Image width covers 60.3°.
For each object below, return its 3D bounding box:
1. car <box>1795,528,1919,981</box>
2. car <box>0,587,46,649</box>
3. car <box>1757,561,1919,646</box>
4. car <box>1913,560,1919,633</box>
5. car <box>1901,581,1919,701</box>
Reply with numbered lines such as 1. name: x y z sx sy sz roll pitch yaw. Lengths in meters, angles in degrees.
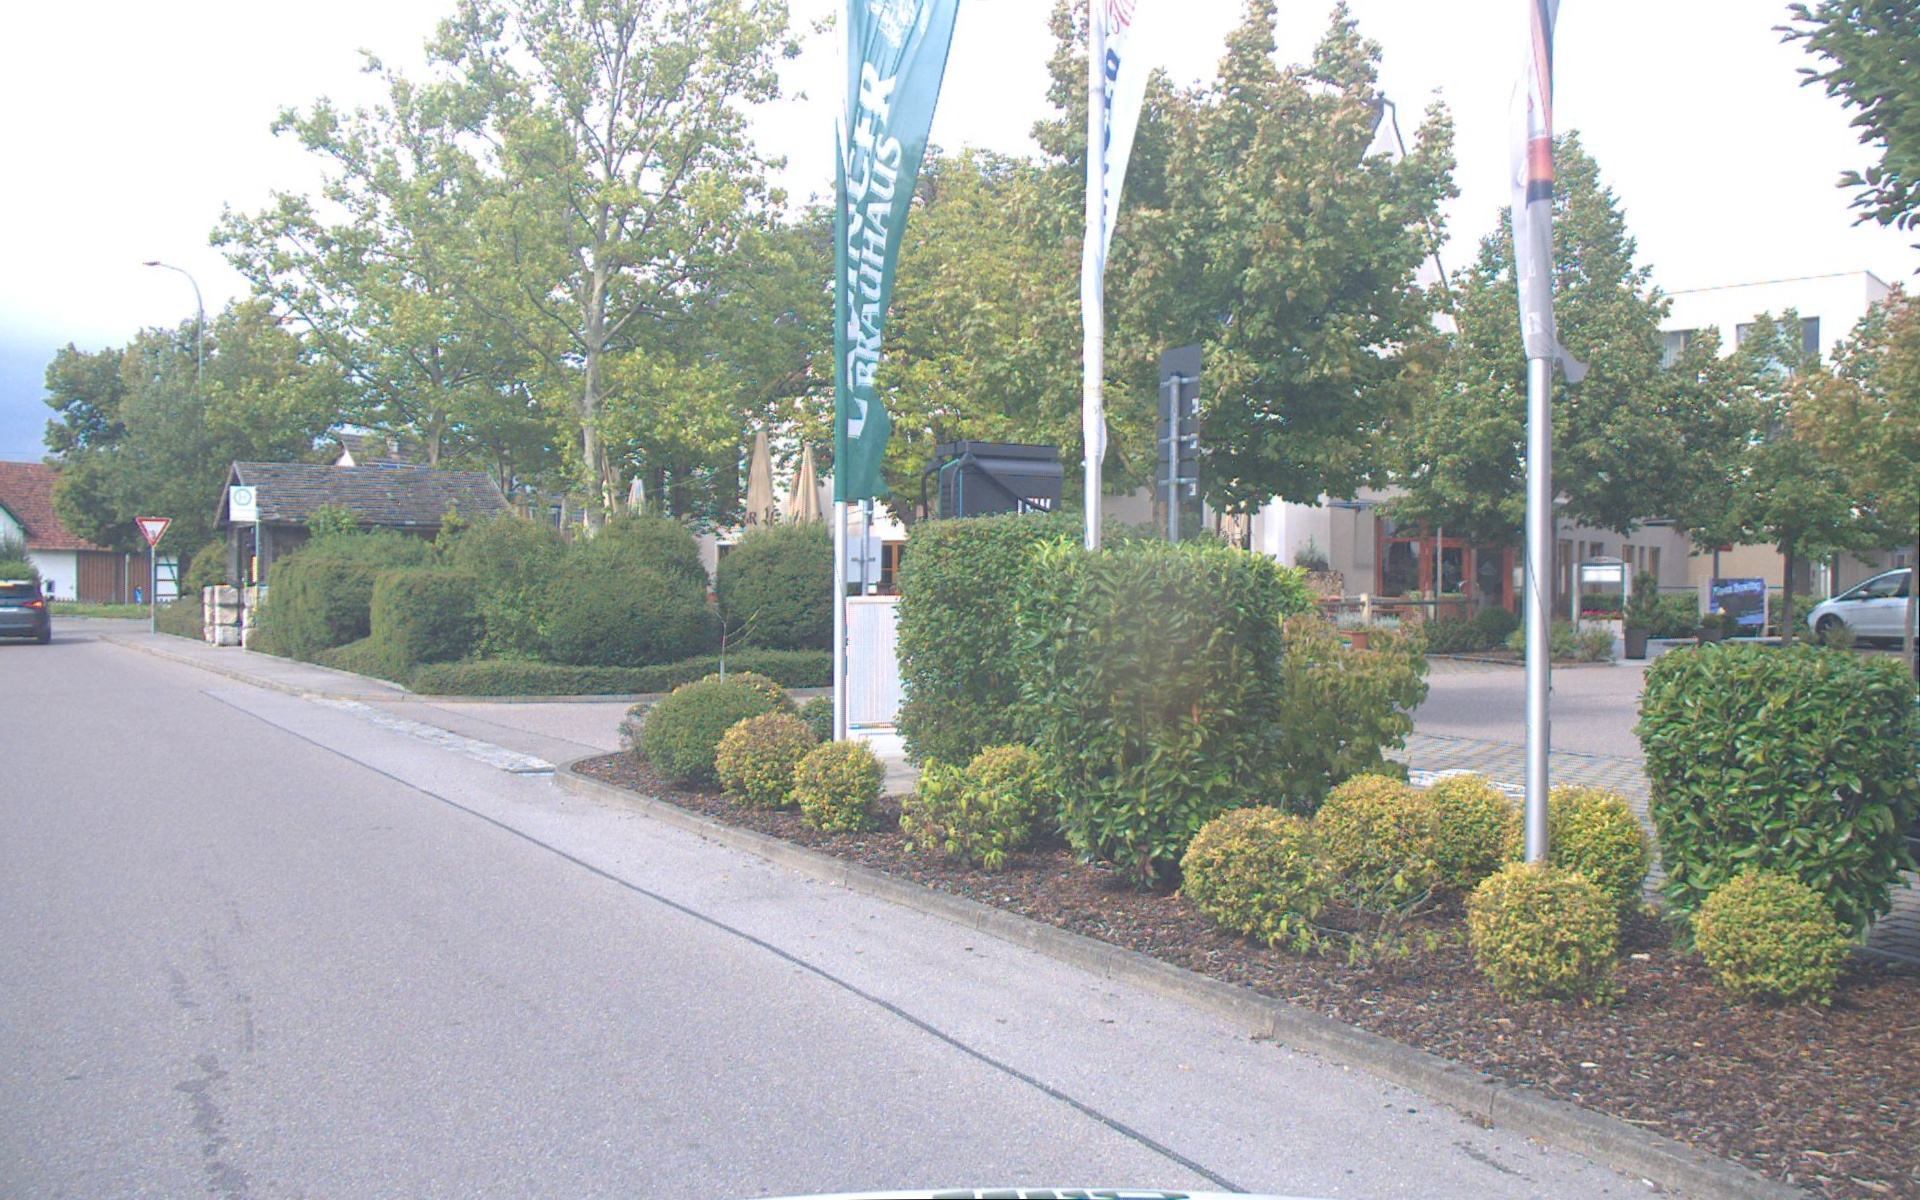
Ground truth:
1. car: 5.929 0.545 6.770 4.598 1.726 1.907 -1 0 -21
2. car: -24.010 0.423 41.517 1.780 1.488 3.624 1 0 -31
3. car: 19.858 0.060 35.502 1.722 1.741 5.039 0 0 -25
4. car: 24.728 -0.057 37.909 1.572 1.741 5.039 0 0 -25
5. car: 12.768 0.489 19.179 3.318 1.375 1.617 0 0 -25
